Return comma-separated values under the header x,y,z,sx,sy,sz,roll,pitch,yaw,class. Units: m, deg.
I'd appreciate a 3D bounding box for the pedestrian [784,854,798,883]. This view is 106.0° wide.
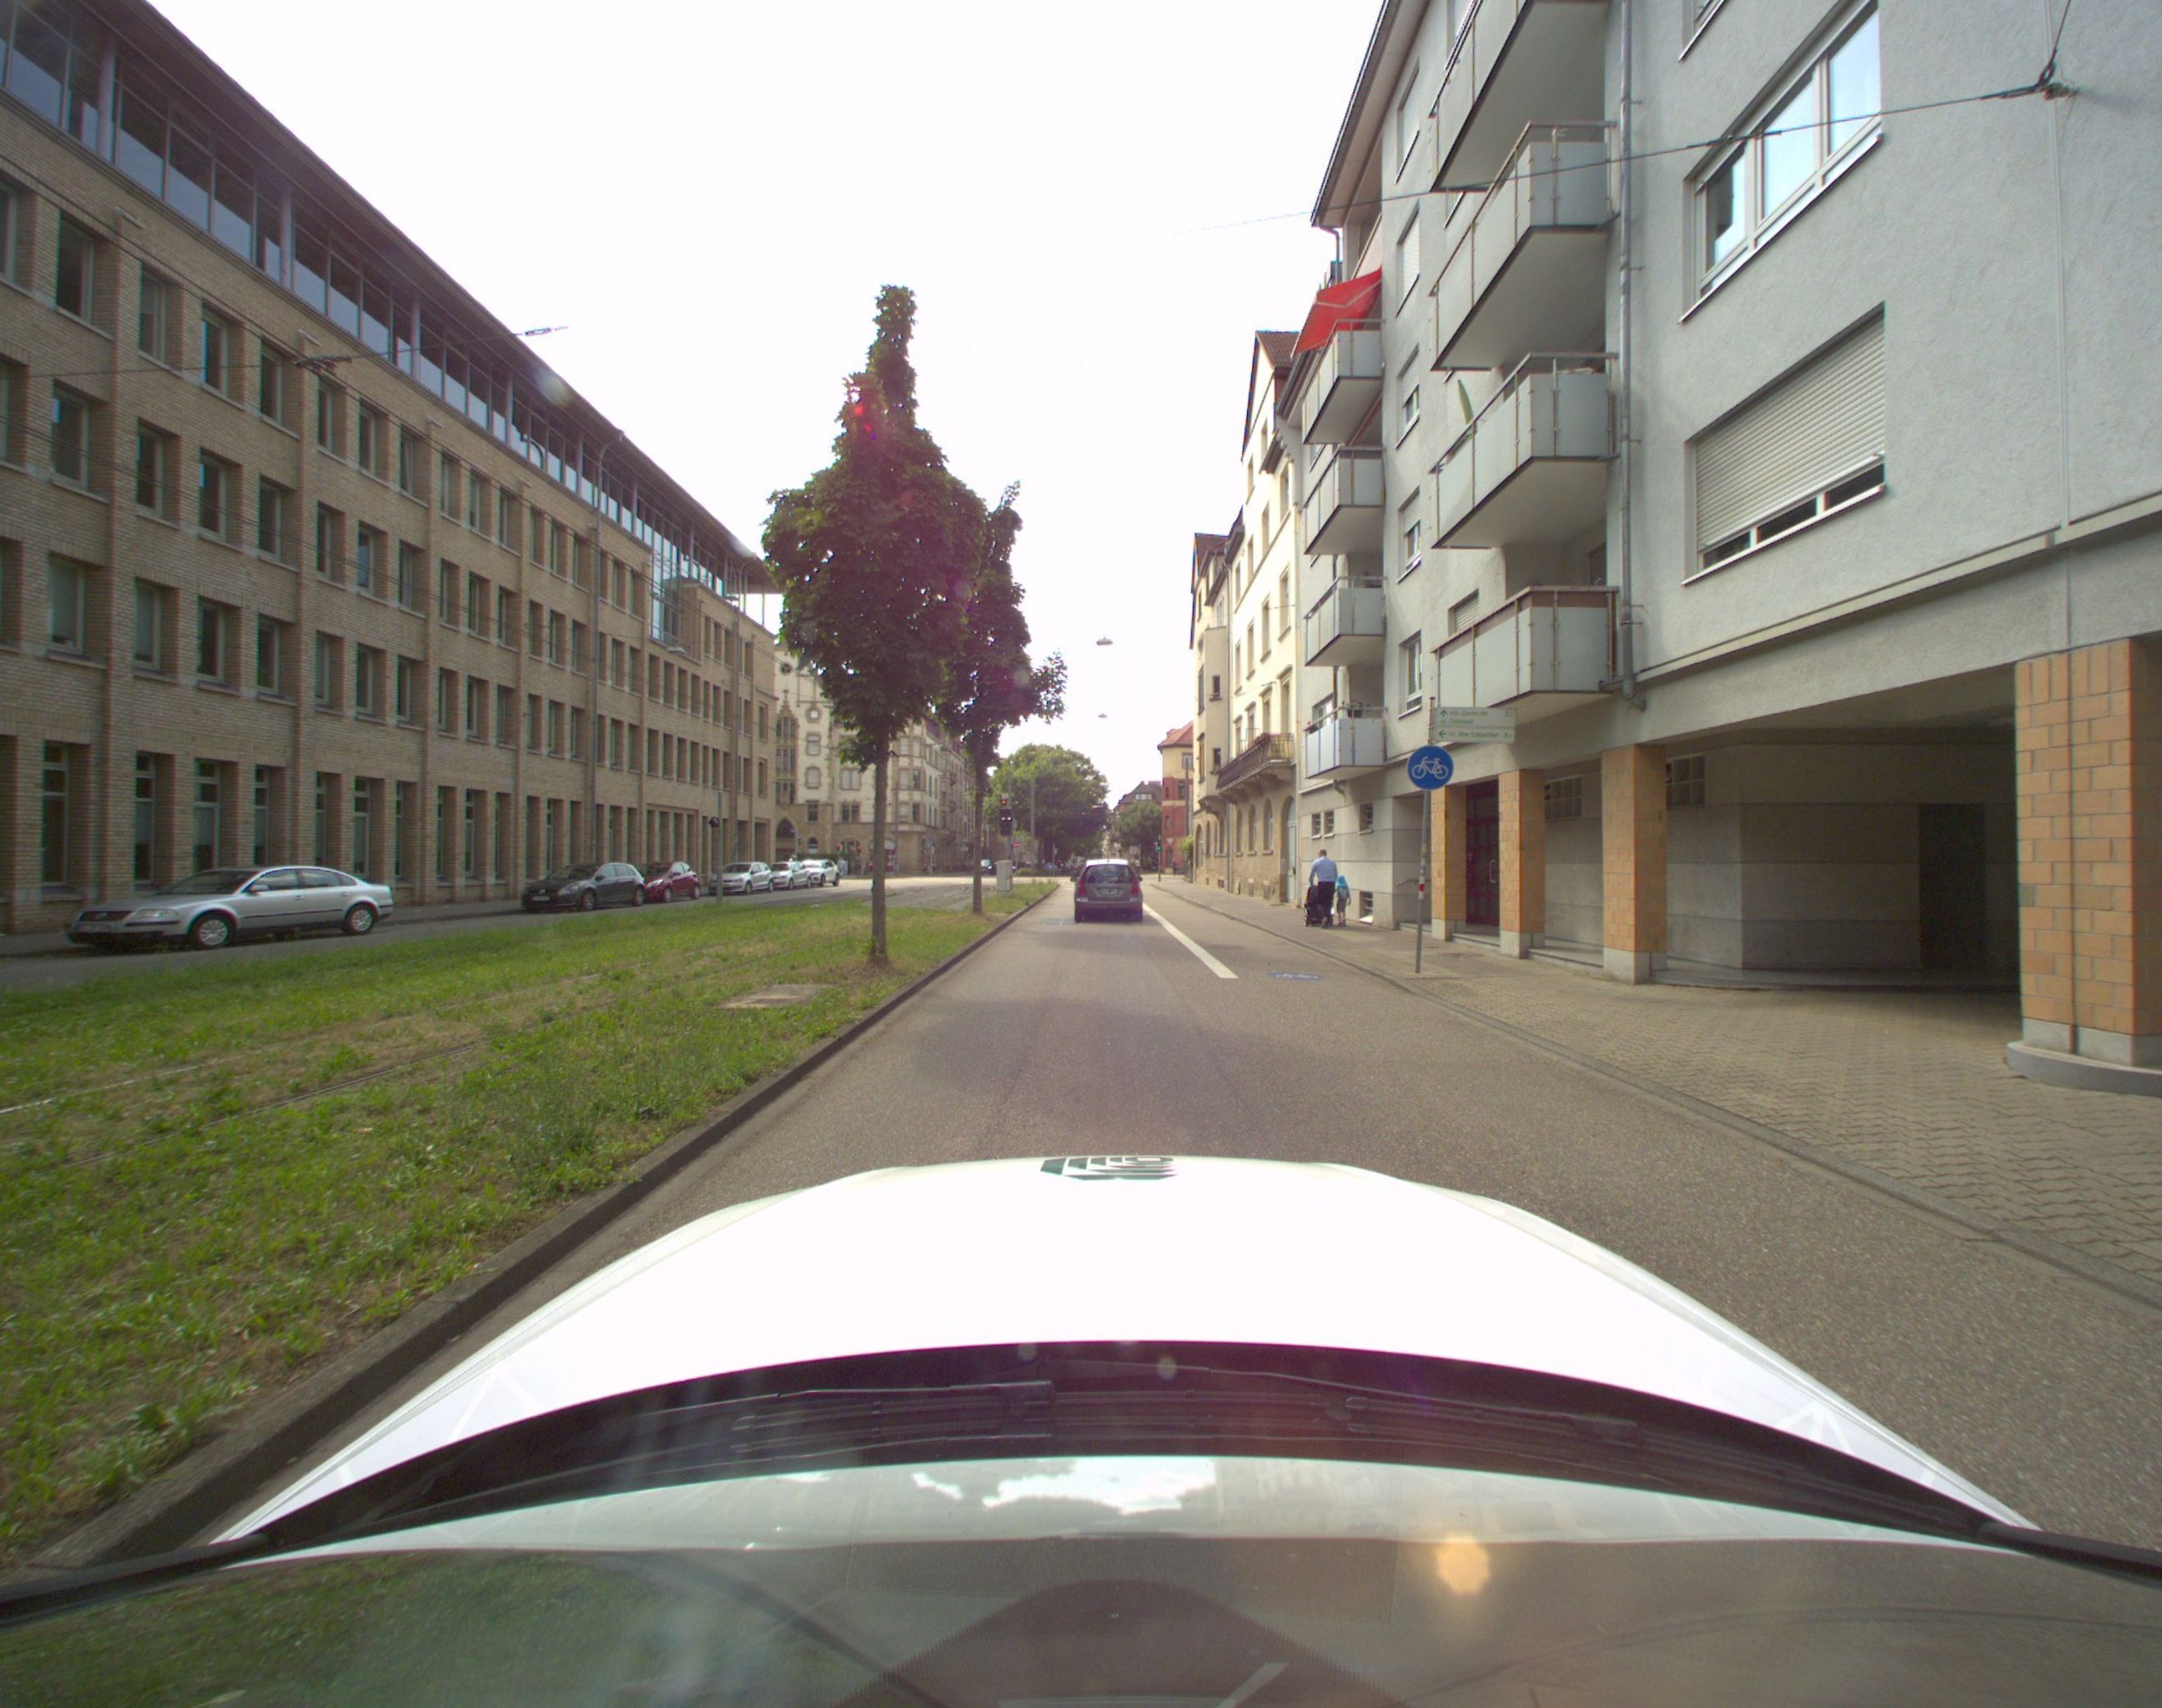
x,y,z,sx,sy,sz,roll,pitch,yaw,class
-18.172,0.878,50.997,0.763,1.795,0.952,1,-1,-24,pedestrian

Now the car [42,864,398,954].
x,y,z,sx,sy,sz,roll,pitch,yaw,class
-15.500,0.904,15.117,1.708,1.396,4.487,0,-1,2,car

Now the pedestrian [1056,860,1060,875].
x,y,z,sx,sy,sz,roll,pitch,yaw,class
-2.600,1.549,92.510,0.492,1.725,0.653,0,-1,-4,pedestrian

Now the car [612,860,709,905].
x,y,z,sx,sy,sz,roll,pitch,yaw,class
-15.227,0.980,29.683,1.576,1.531,3.551,0,-1,2,car

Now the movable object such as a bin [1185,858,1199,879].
x,y,z,sx,sy,sz,roll,pitch,yaw,class
7.867,1.045,57.633,0.714,1.472,0.980,-1,-1,-8,movable object such as a bin

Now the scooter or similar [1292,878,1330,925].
x,y,z,sx,sy,sz,roll,pitch,yaw,class
5.368,1.103,19.028,0.590,1.002,0.906,-4,-1,2,scooter or similar

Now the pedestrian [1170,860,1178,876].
x,y,z,sx,sy,sz,roll,pitch,yaw,class
9.507,1.394,83.259,0.864,1.657,0.737,0,-1,5,pedestrian

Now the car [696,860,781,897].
x,y,z,sx,sy,sz,roll,pitch,yaw,class
-15.148,1.049,36.240,1.844,1.531,4.212,0,-1,2,car

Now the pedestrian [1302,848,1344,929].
x,y,z,sx,sy,sz,roll,pitch,yaw,class
5.397,0.753,18.178,0.618,1.739,0.877,-3,-1,2,pedestrian

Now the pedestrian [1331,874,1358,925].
x,y,z,sx,sy,sz,roll,pitch,yaw,class
5.997,1.034,18.547,0.454,1.135,0.494,-1,-1,2,pedestrian

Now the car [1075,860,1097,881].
x,y,z,sx,sy,sz,roll,pitch,yaw,class
0.420,1.368,68.175,1.716,1.706,3.679,-1,-1,2,car

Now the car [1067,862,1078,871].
x,y,z,sx,sy,sz,roll,pitch,yaw,class
-1.446,2.100,139.896,1.746,1.517,3.500,0,-1,2,car

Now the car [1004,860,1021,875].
x,y,z,sx,sy,sz,roll,pitch,yaw,class
-8.055,1.625,96.108,1.990,1.728,3.994,-1,-1,-4,car

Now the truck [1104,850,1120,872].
x,y,z,sx,sy,sz,roll,pitch,yaw,class
4.405,0.984,115.583,2.113,2.970,4.005,-1,-1,5,truck

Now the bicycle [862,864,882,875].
x,y,z,sx,sy,sz,roll,pitch,yaw,class
-21.814,1.590,85.095,1.915,1.081,0.776,-1,-1,-10,bicycle

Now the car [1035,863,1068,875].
x,y,z,sx,sy,sz,roll,pitch,yaw,class
-3.529,1.753,97.328,1.984,1.339,3.954,1,-1,-38,car

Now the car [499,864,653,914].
x,y,z,sx,sy,sz,roll,pitch,yaw,class
-15.322,1.010,25.031,1.925,1.396,4.241,0,-1,2,car

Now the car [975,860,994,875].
x,y,z,sx,sy,sz,roll,pitch,yaw,class
-11.240,1.554,94.660,1.990,1.618,3.994,-1,-1,-4,car

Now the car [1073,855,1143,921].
x,y,z,sx,sy,sz,roll,pitch,yaw,class
0.725,0.860,22.006,1.716,1.605,3.679,-1,-1,2,car

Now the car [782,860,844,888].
x,y,z,sx,sy,sz,roll,pitch,yaw,class
-15.057,1.101,46.025,1.925,1.535,4.260,0,-1,2,car

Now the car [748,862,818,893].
x,y,z,sx,sy,sz,roll,pitch,yaw,class
-15.171,1.160,41.702,1.925,1.531,4.016,0,-1,2,car

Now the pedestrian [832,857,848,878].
x,y,z,sx,sy,sz,roll,pitch,yaw,class
-20.498,1.133,69.269,1.029,1.722,0.767,1,-1,-43,pedestrian
